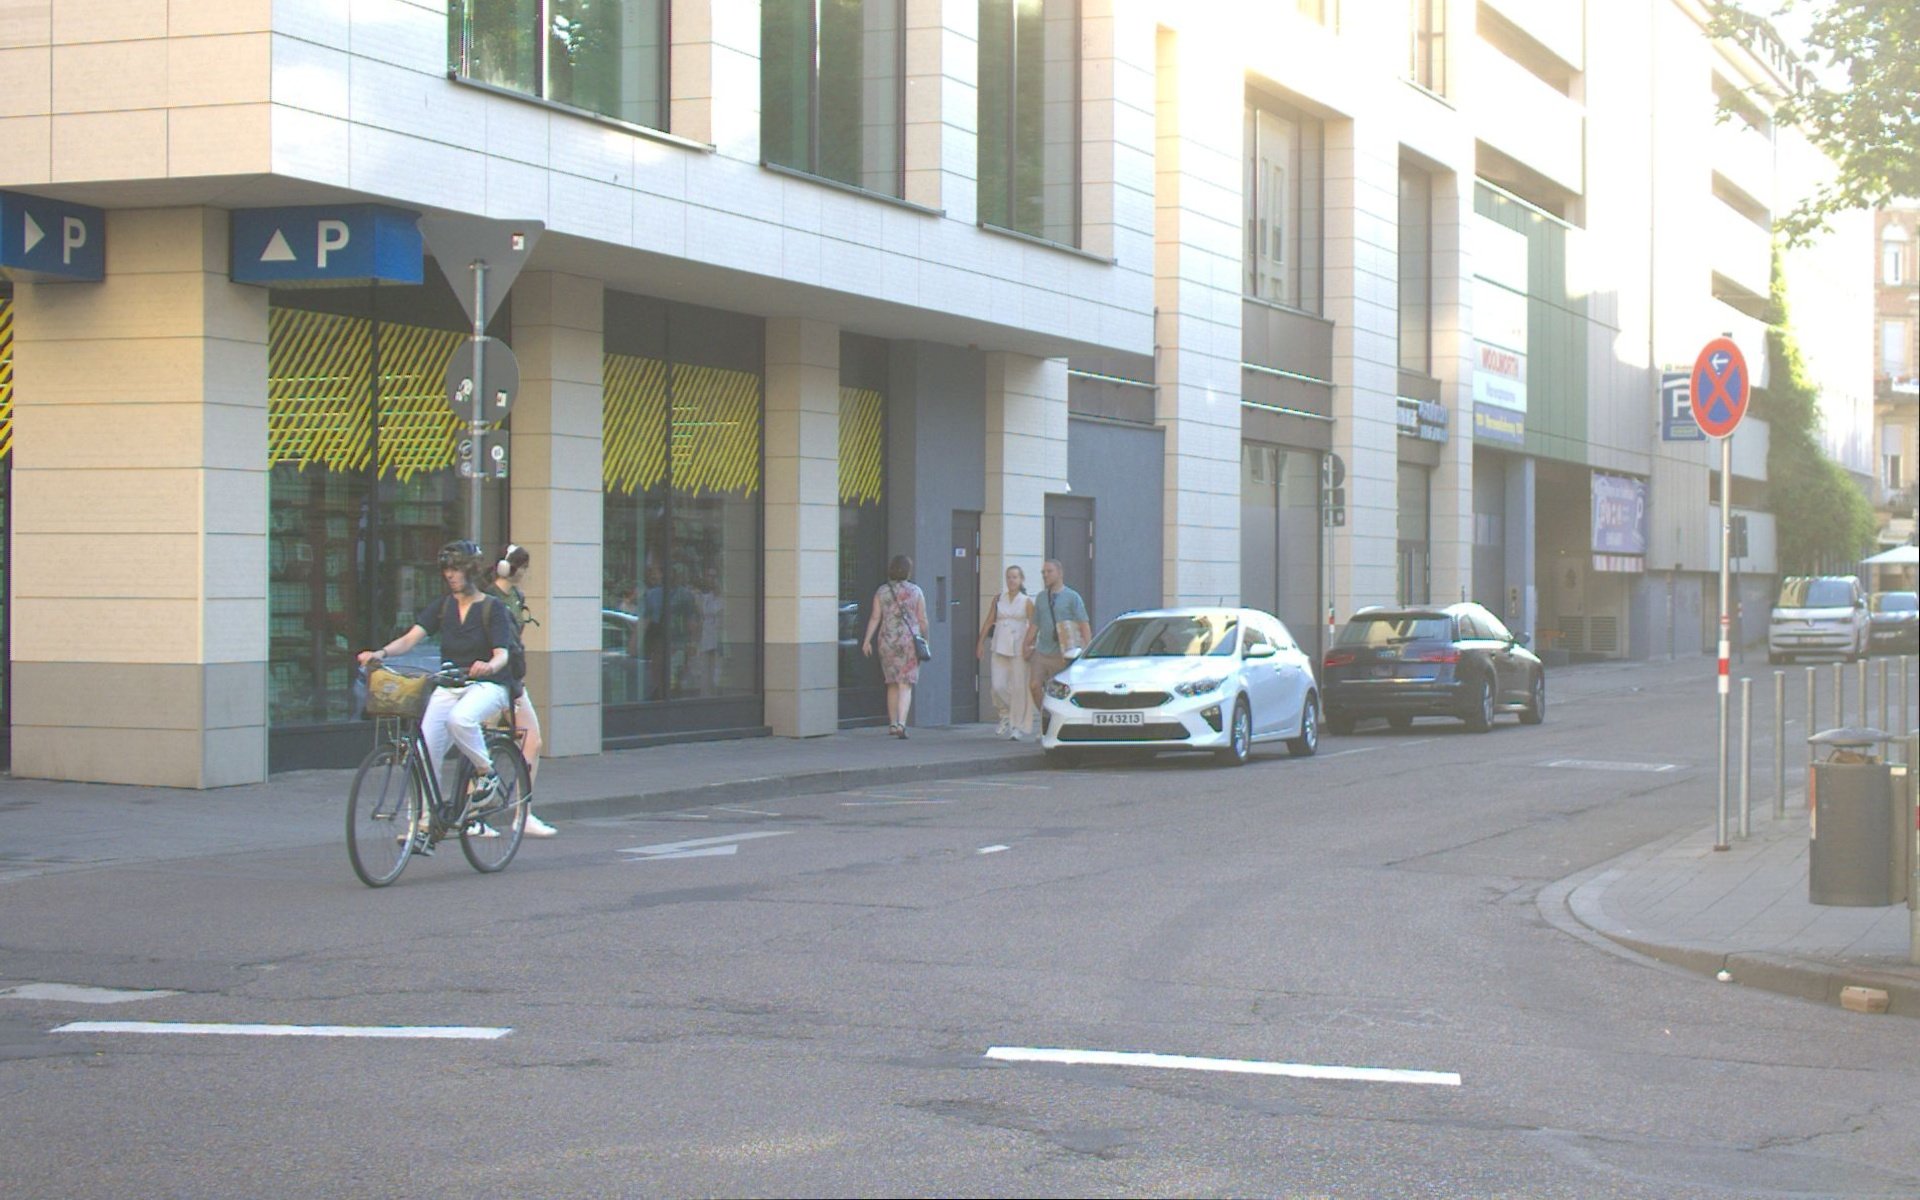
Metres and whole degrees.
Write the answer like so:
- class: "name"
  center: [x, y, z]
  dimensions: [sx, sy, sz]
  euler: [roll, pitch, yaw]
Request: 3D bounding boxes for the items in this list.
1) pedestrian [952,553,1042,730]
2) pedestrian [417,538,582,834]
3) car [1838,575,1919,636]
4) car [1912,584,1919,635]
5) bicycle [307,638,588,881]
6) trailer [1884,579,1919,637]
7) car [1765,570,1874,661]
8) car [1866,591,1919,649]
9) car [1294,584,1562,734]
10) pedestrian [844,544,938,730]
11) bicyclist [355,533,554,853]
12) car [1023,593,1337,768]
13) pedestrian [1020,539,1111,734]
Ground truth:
- class: "pedestrian"
  center: [0.359, 0.392, 33.094]
  dimensions: [0.672, 1.669, 0.647]
  euler: [1, 1, 19]
- class: "pedestrian"
  center: [-2.750, 0.498, 20.513]
  dimensions: [0.635, 1.717, 0.845]
  euler: [1, 1, -34]
- class: "car"
  center: [23.282, 0.115, 86.517]
  dimensions: [1.885, 1.448, 3.996]
  euler: [1, 1, 20]
- class: "car"
  center: [28.681, 0.277, 99.406]
  dimensions: [1.885, 1.448, 3.996]
  euler: [1, 1, 20]
- class: "bicycle"
  center: [-2.573, 0.777, 17.480]
  dimensions: [0.664, 1.134, 1.820]
  euler: [1, 0, 17]
- class: "trailer"
  center: [26.848, 0.244, 95.312]
  dimensions: [1.995, 1.552, 3.996]
  euler: [1, 0, 20]
- class: "car"
  center: [19.022, 0.318, 75.957]
  dimensions: [1.885, 1.905, 4.743]
  euler: [1, 1, 19]
- class: "car"
  center: [25.271, 0.517, 91.497]
  dimensions: [1.885, 1.448, 3.996]
  euler: [1, 1, 20]
- class: "car"
  center: [5.513, 0.628, 40.003]
  dimensions: [1.886, 1.592, 4.683]
  euler: [1, 1, 23]
- class: "pedestrian"
  center: [-0.650, 0.341, 32.670]
  dimensions: [0.672, 1.738, 0.646]
  euler: [1, 0, 21]
- class: "bicyclist"
  center: [-2.559, 0.457, 17.460]
  dimensions: [0.659, 1.565, 0.862]
  euler: [1, 0, 17]
- class: "car"
  center: [2.114, 0.683, 31.821]
  dimensions: [1.779, 1.448, 4.226]
  euler: [1, 1, 20]
- class: "pedestrian"
  center: [1.010, 0.344, 32.862]
  dimensions: [0.672, 1.830, 0.647]
  euler: [1, 1, 19]
